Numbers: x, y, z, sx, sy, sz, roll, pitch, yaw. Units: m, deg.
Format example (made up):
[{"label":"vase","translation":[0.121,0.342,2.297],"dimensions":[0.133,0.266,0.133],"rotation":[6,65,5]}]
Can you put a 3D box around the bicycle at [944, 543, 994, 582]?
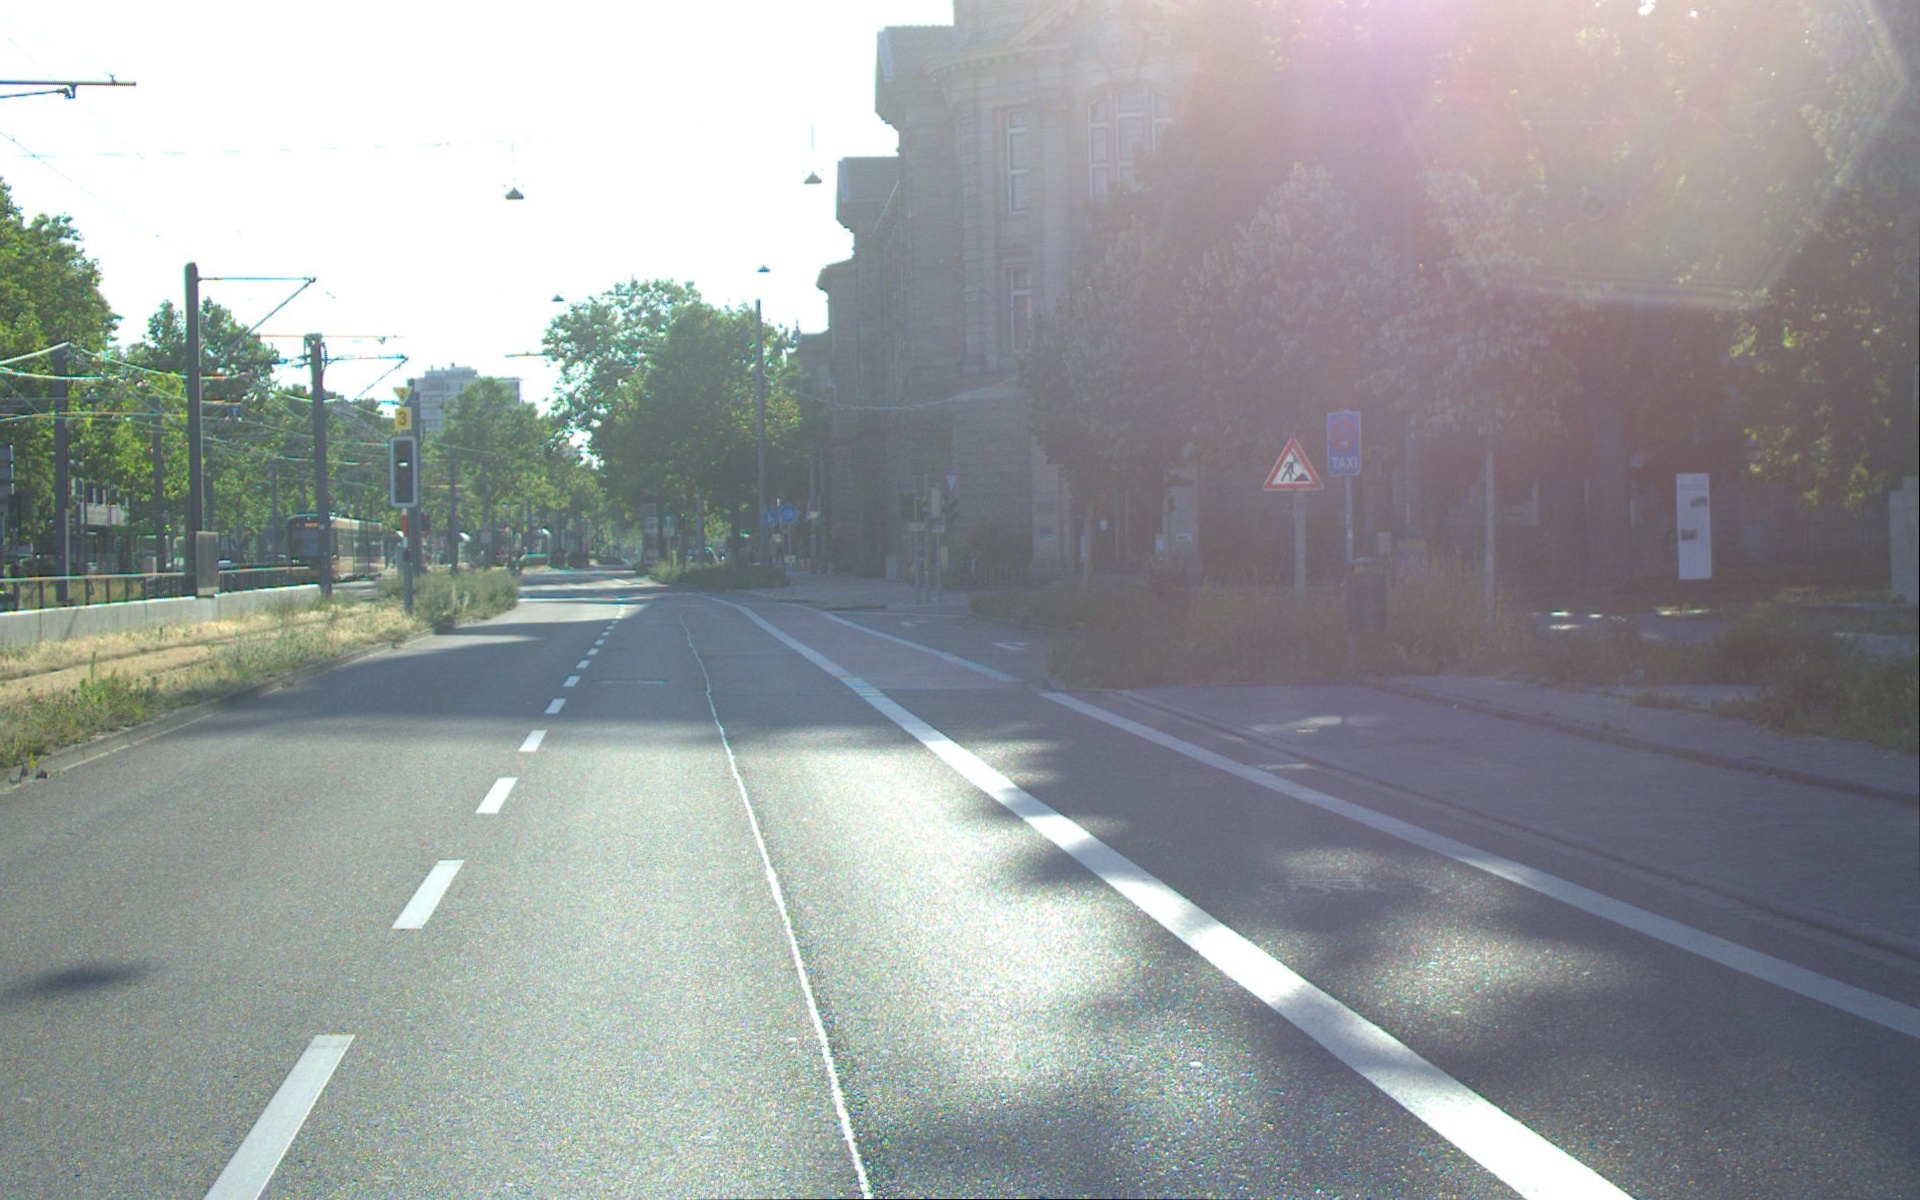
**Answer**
[{"label":"bicycle","translation":[0.288,-1.178,107.522],"dimensions":[0.867,1.192,2.237],"rotation":[-1,1,19]}]

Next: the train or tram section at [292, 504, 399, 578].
[{"label":"train or tram section","translation":[-31.501,-3.014,177.105],"dimensions":[3.112,3.547,17.480],"rotation":[-1,1,-3]}]
